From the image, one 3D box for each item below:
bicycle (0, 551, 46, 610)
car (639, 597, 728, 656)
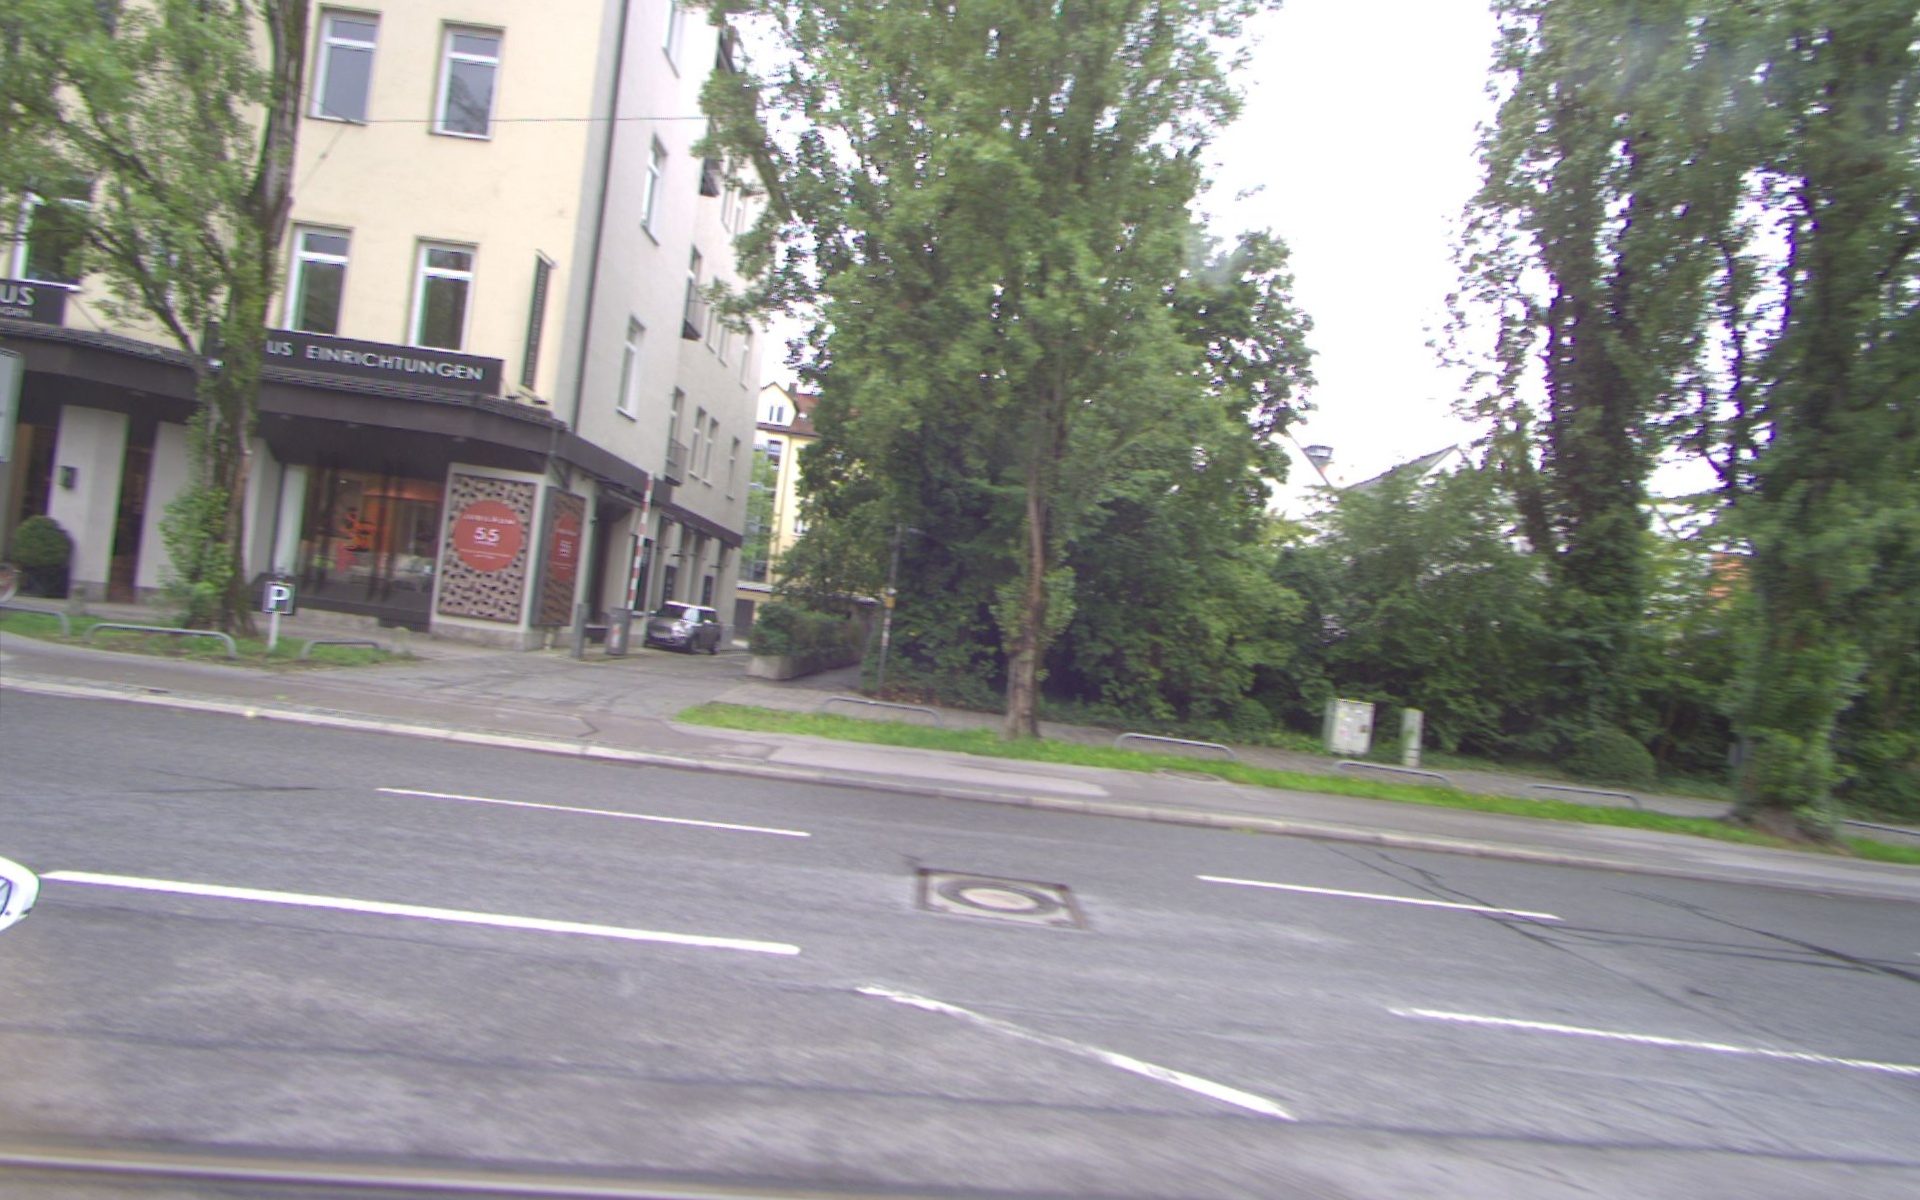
[{"bbox_3d":[-15.204,-0.327,15.814,0.382,0.894,1.371,7,-2,-4],"label":"bicycle"},{"bbox_3d":[-8.209,0.784,30.164,1.700,1.459,3.999,7,-2,-5],"label":"car"}]
